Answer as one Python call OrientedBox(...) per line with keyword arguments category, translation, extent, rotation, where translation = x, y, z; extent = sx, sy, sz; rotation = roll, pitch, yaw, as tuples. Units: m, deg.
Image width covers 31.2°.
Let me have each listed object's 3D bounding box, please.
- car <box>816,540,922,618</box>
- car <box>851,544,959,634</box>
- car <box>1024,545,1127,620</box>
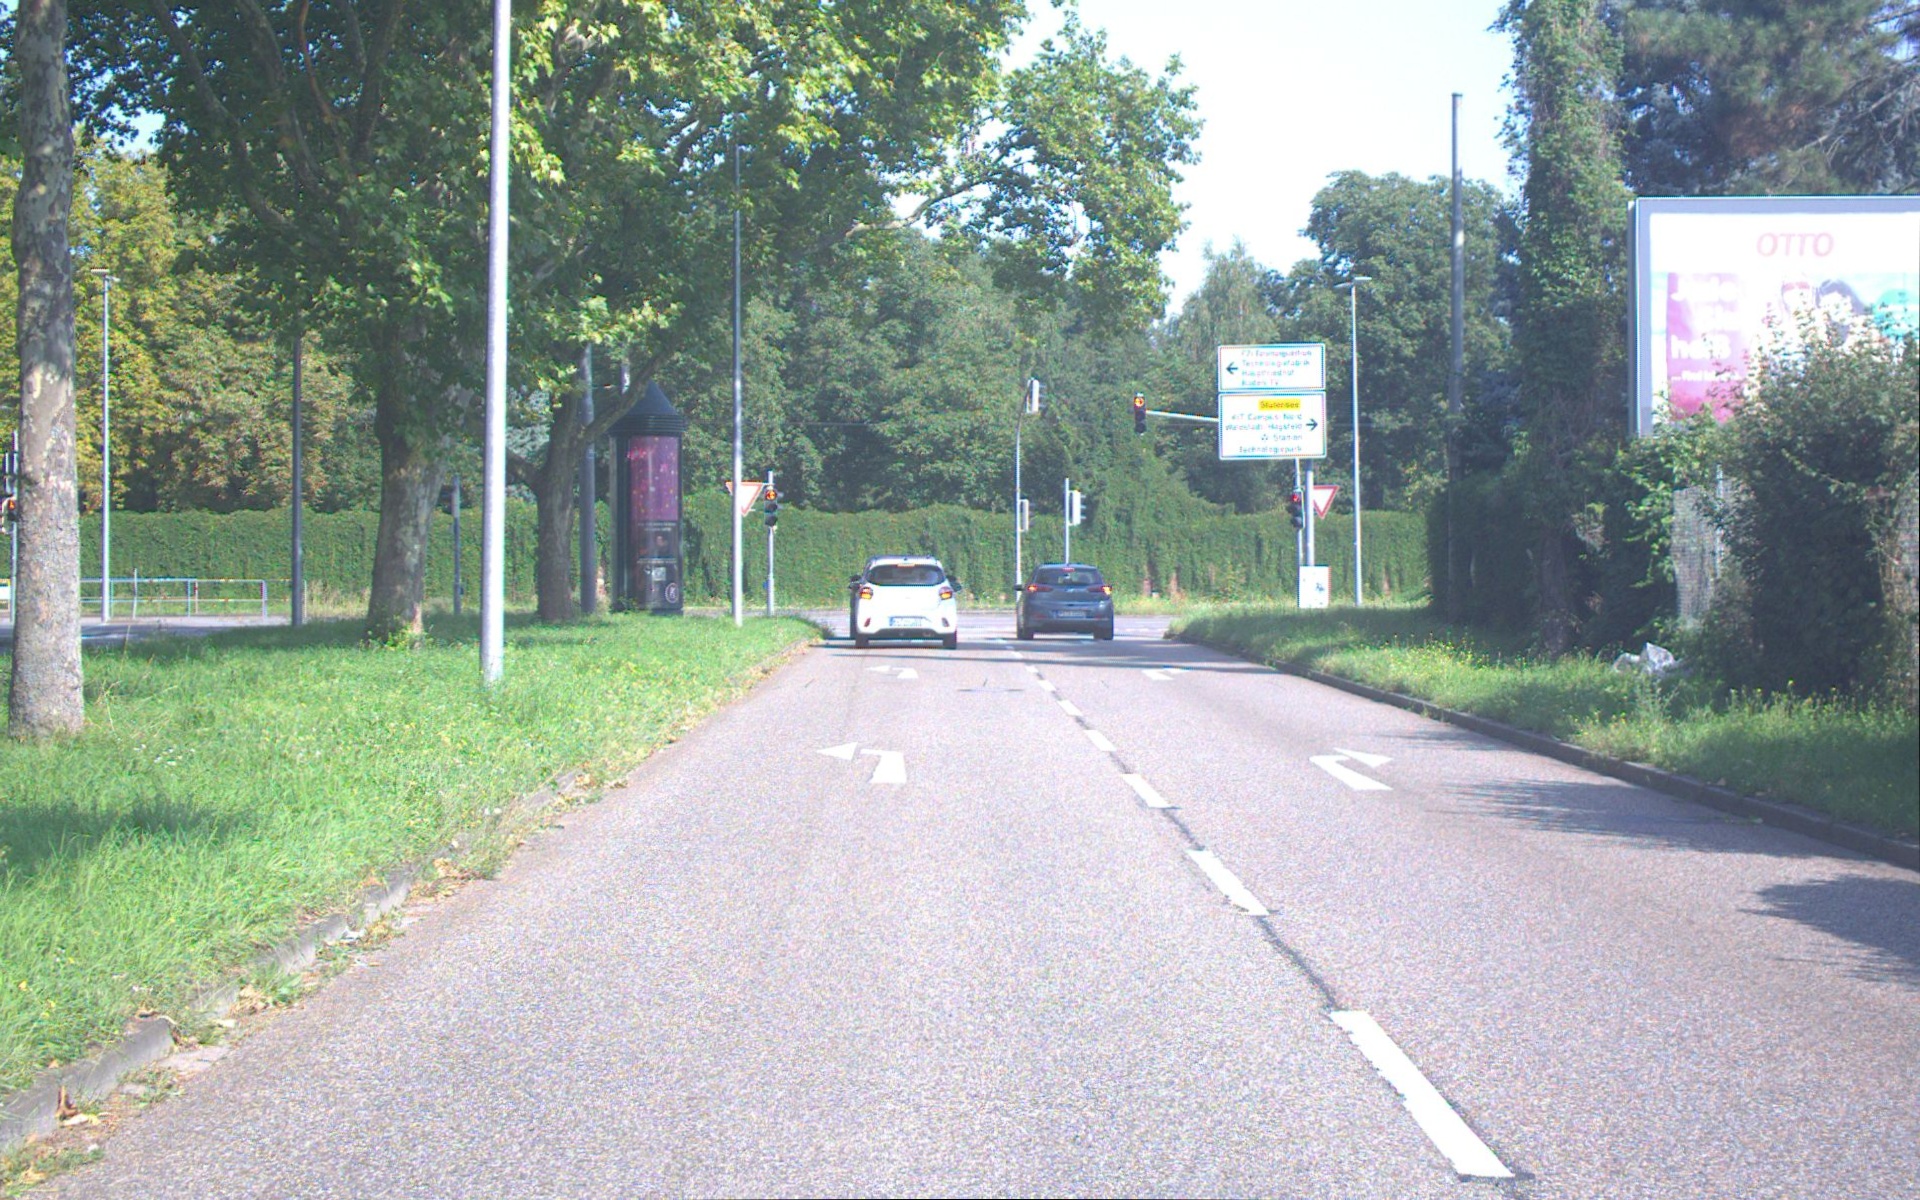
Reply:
OrientedBox(category="car", translation=(-1.726, -0.421, 66.216), extent=(1.687, 1.457, 3.849), rotation=(0, 1, 4))
OrientedBox(category="car", translation=(-0.886, -0.204, 57.608), extent=(1.687, 1.457, 4.000), rotation=(0, 1, 1))
OrientedBox(category="car", translation=(2.198, -0.357, 66.425), extent=(1.797, 1.396, 4.000), rotation=(0, 1, -1))
